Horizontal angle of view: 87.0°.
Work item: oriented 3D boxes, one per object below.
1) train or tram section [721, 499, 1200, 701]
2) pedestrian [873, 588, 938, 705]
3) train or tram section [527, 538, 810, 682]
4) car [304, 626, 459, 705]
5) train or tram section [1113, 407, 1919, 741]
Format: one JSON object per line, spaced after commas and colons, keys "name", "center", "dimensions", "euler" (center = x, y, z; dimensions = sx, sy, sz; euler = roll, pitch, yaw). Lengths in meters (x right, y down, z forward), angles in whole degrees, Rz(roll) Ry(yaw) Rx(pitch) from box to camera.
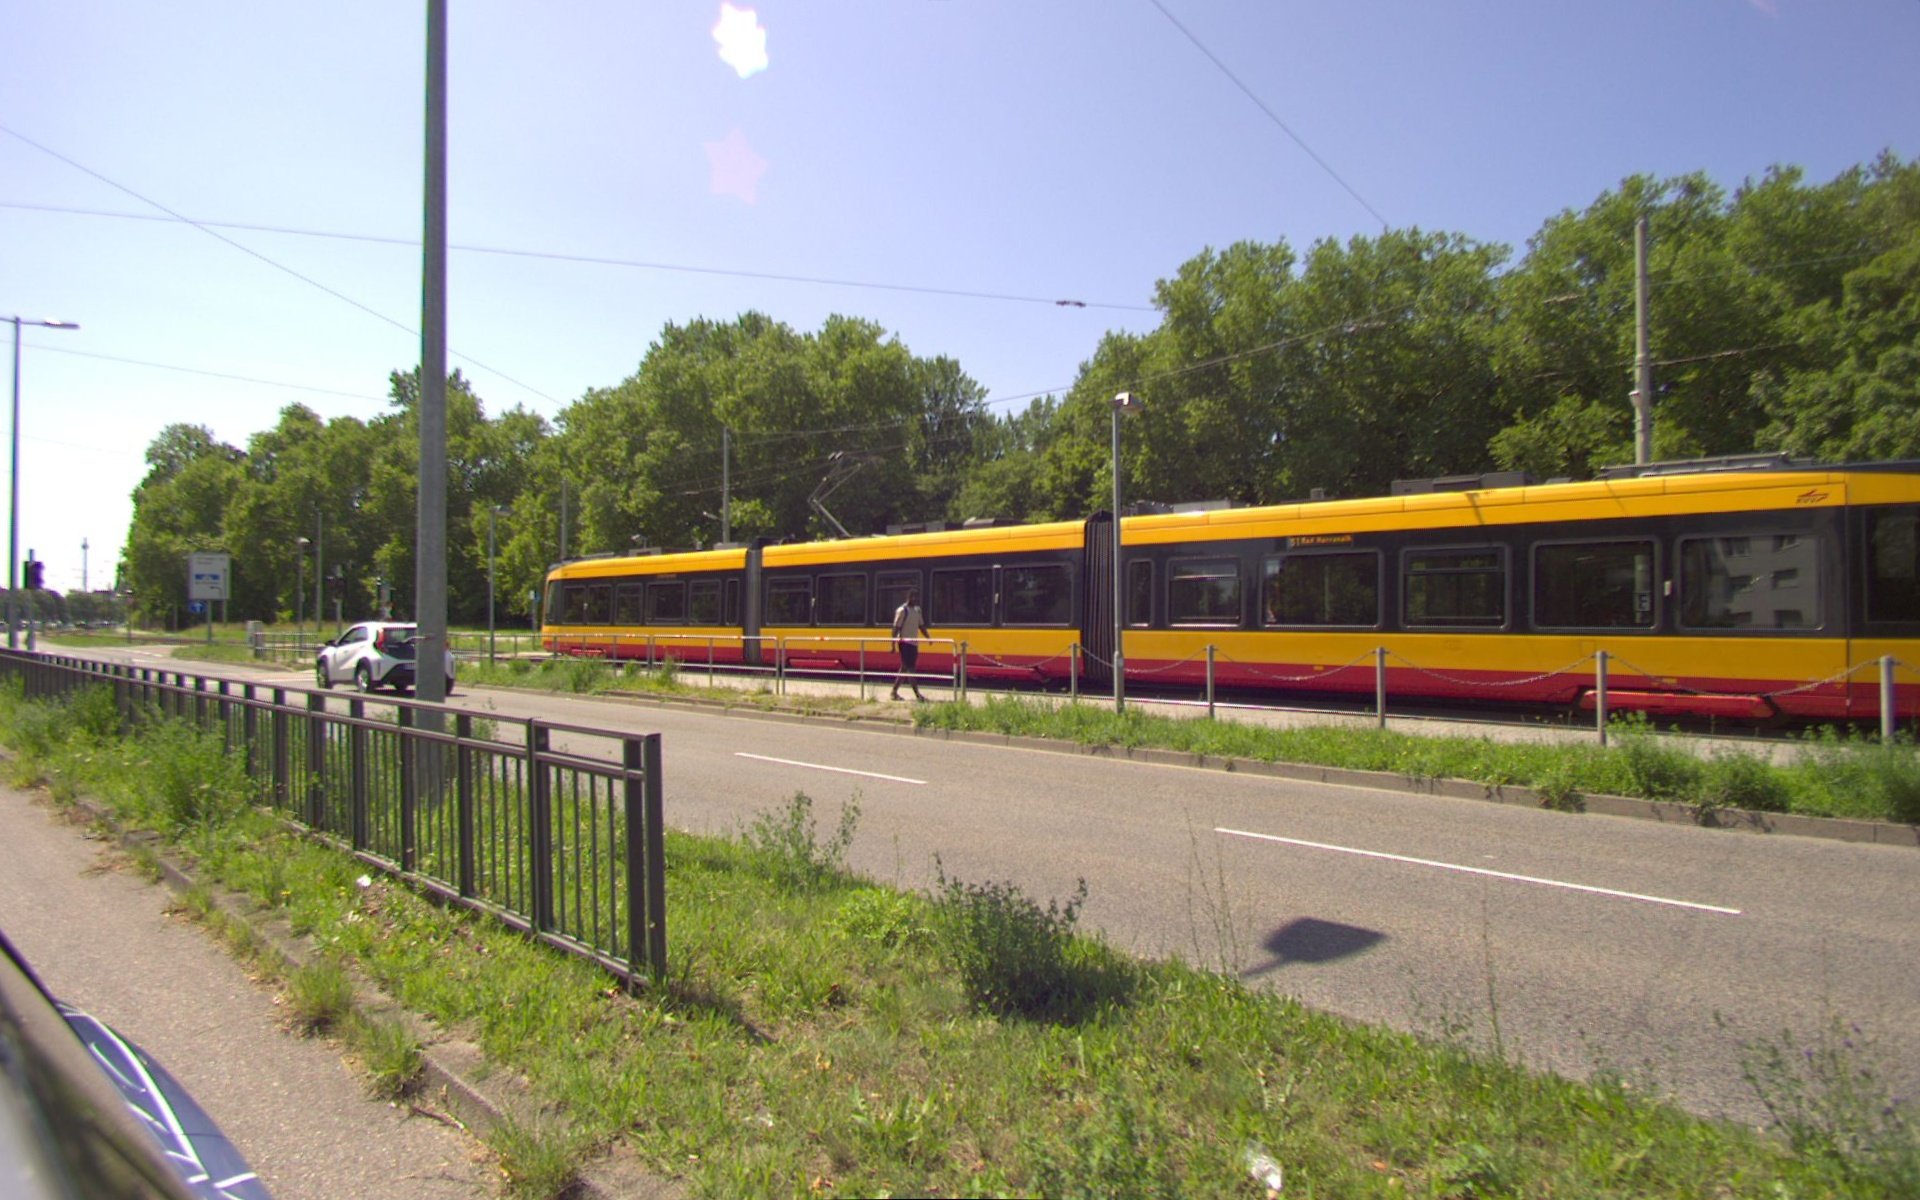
{"name": "train or tram section", "center": [-0.718, 0.120, 24.182], "dimensions": [12.591, 3.769, 3.012], "euler": [-2, 0, 42]}
{"name": "pedestrian", "center": [-0.867, 0.724, 16.110], "dimensions": [0.776, 1.804, 0.625], "euler": [-2, 0, 40]}
{"name": "train or tram section", "center": [-9.685, 0.384, 32.246], "dimensions": [11.536, 3.884, 2.919], "euler": [-2, 0, 42]}
{"name": "car", "center": [-12.324, 1.321, 21.494], "dimensions": [3.718, 1.516, 1.751], "euler": [-2, -1, 41]}
{"name": "train or tram section", "center": [8.799, -0.221, 15.521], "dimensions": [13.259, 3.795, 3.011], "euler": [-2, 0, 42]}
